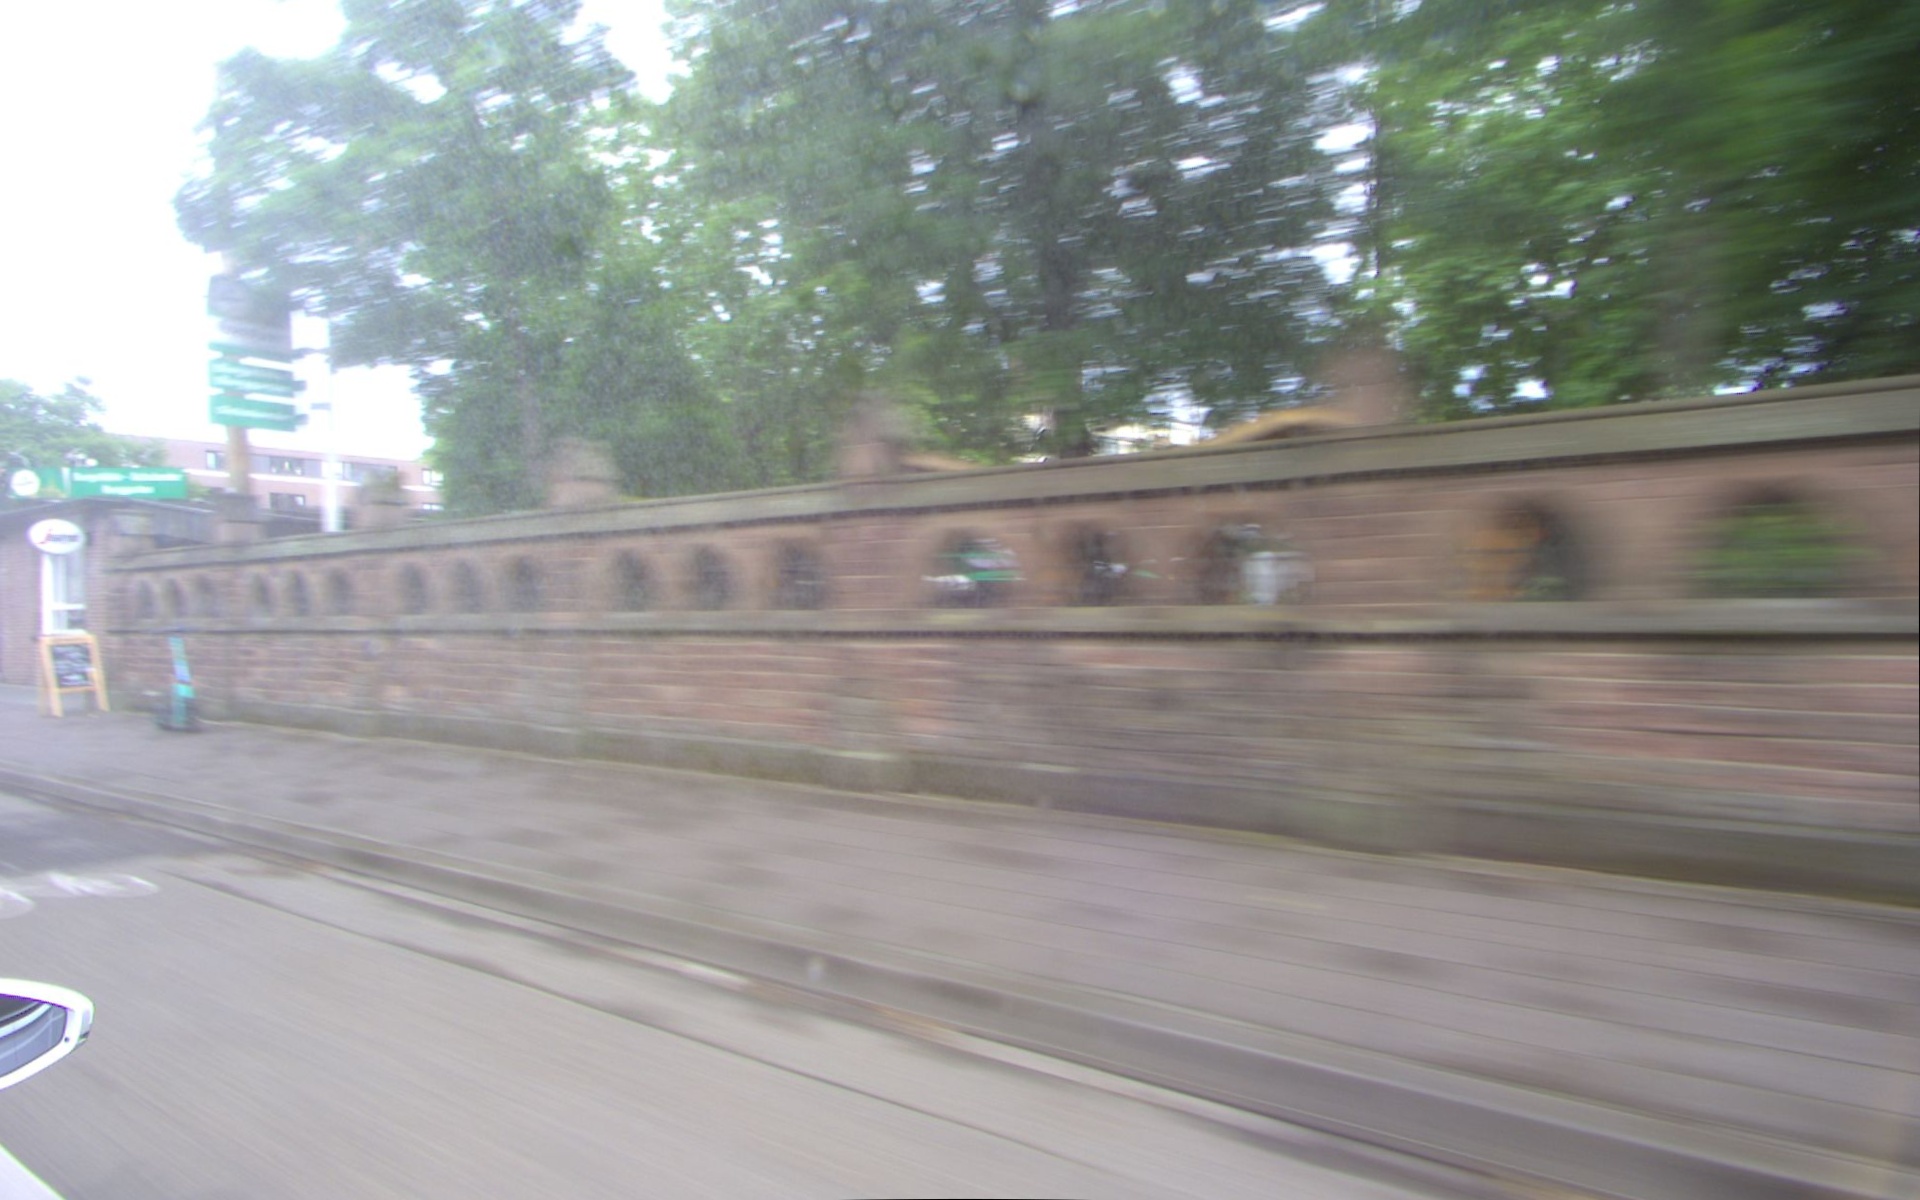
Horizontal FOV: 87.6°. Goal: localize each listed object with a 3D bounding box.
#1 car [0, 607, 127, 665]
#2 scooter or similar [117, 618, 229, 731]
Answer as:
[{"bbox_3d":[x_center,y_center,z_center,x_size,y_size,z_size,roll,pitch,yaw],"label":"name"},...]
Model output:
[{"bbox_3d":[-26.007,0.954,28.296,1.900,1.426,4.577,-1,1,-13],"label":"car"},{"bbox_3d":[-9.473,0.864,12.046,1.390,1.256,0.575,0,4,33],"label":"scooter or similar"}]
